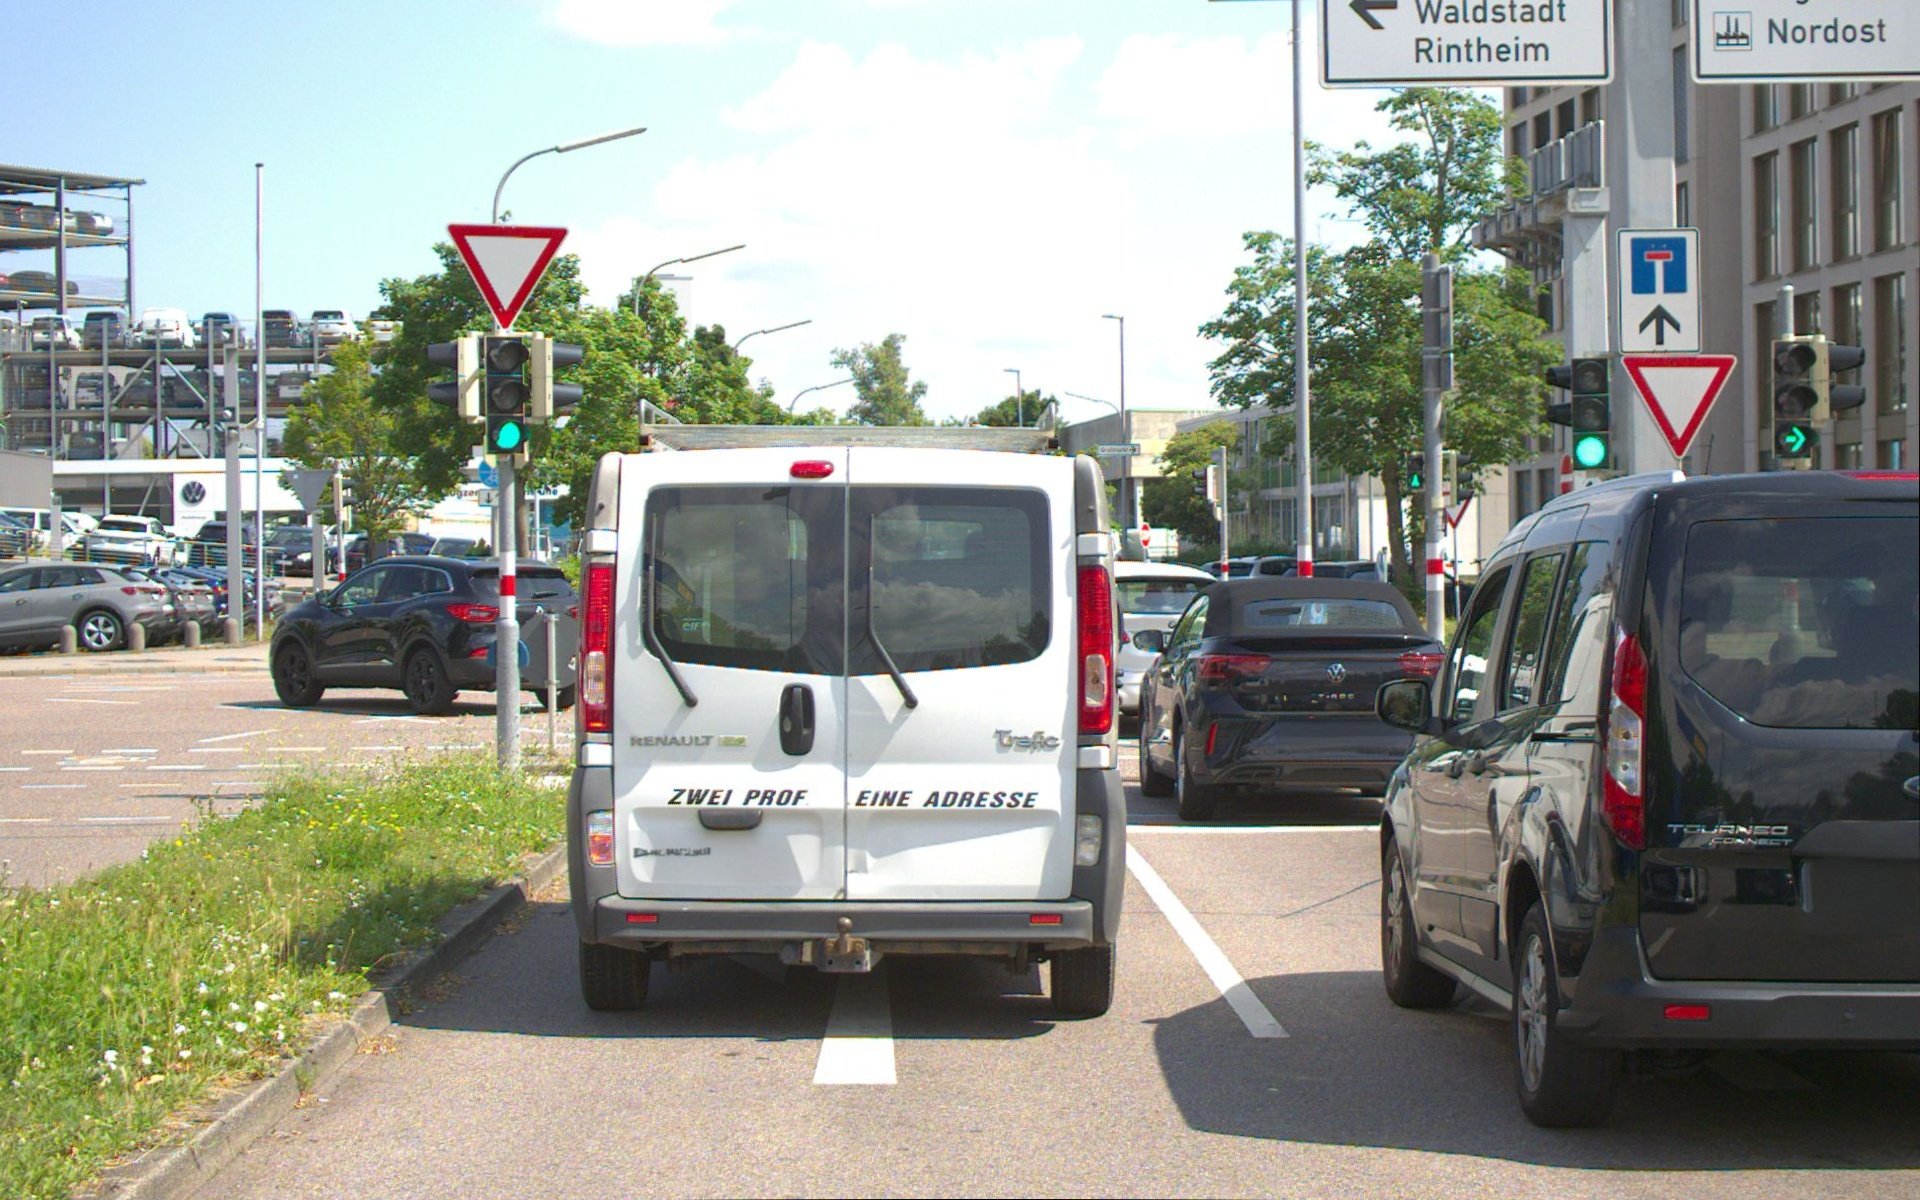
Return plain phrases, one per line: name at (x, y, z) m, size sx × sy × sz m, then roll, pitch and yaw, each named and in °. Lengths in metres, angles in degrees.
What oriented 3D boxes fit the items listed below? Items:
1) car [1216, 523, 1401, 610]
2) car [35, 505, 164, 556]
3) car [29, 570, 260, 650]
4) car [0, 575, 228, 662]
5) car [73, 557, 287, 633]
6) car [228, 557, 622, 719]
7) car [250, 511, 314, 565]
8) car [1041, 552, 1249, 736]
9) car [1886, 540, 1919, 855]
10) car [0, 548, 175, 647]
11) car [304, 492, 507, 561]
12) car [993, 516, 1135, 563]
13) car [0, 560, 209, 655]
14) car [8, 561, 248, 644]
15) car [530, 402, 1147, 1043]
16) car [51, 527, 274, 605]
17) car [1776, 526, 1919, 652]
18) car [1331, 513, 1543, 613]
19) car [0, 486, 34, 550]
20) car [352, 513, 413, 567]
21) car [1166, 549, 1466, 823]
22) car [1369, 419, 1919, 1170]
car at (8.312, -0.783, 82.183) m, size 3.986 × 2.007 × 2.000 m, roll 1°, pitch 0°, yaw -8°
car at (-27.992, -2.242, 111.896) m, size 3.986 × 1.547 × 1.765 m, roll 1°, pitch 0°, yaw -12°
car at (-17.499, 0.205, 73.913) m, size 4.574 × 1.672 × 1.907 m, roll 0°, pitch 1°, yaw -3°
car at (-17.153, 0.362, 69.005) m, size 4.574 × 1.672 × 1.907 m, roll 1°, pitch 0°, yaw -3°
car at (-18.019, -0.109, 79.582) m, size 4.574 × 1.672 × 1.907 m, roll 1°, pitch 0°, yaw -3°
car at (-5.676, 0.370, 36.201) m, size 4.264 × 1.612 × 1.773 m, roll 1°, pitch 0°, yaw 42°
car at (-20.666, -1.865, 104.832) m, size 1.560 × 1.547 × 3.603 m, roll 1°, pitch 0°, yaw -6°
car at (1.688, 0.378, 32.549) m, size 1.774 × 1.624 × 4.000 m, roll 0°, pitch 0°, yaw 0°
car at (5.969, 0.603, 16.567) m, size 1.859 × 1.650 × 4.219 m, roll 5°, pitch 1°, yaw 2°
car at (-16.329, -0.053, 60.619) m, size 4.574 × 1.672 × 1.907 m, roll 1°, pitch 0°, yaw -3°
car at (-18.006, -2.371, 111.808) m, size 6.386 × 2.095 × 1.765 m, roll 1°, pitch 0°, yaw -5°
car at (4.770, -2.772, 158.514) m, size 6.340 × 2.007 × 2.573 m, roll 1°, pitch 0°, yaw -2°
car at (-16.256, 0.133, 63.056) m, size 4.574 × 1.672 × 1.907 m, roll 1°, pitch 0°, yaw -3°
car at (-17.253, 0.037, 71.439) m, size 4.574 × 1.672 × 1.907 m, roll 0°, pitch 1°, yaw -3°
car at (-0.421, 0.379, 13.312) m, size 1.973 × 2.053 × 4.564 m, roll 0°, pitch 0°, yaw -1°
car at (-17.779, -0.749, 76.798) m, size 4.574 × 1.672 × 1.907 m, roll 1°, pitch 0°, yaw -3°
car at (15.017, -0.130, 51.618) m, size 4.975 × 1.831 × 2.000 m, roll 1°, pitch 0°, yaw -8°
car at (10.005, -0.763, 72.302) m, size 3.986 × 2.007 × 2.000 m, roll 1°, pitch 0°, yaw -8°
car at (-29.205, -2.387, 99.419) m, size 4.440 × 1.795 × 1.765 m, roll 1°, pitch 0°, yaw -6°
car at (-17.491, -1.807, 104.279) m, size 1.560 × 1.547 × 3.603 m, roll 1°, pitch 0°, yaw -6°
car at (2.249, 0.496, 22.467) m, size 1.774 × 1.624 × 3.999 m, roll 0°, pitch 0°, yaw 4°
car at (2.414, 0.481, 10.696) m, size 1.823 × 1.898 × 4.000 m, roll 0°, pitch 0°, yaw 0°
